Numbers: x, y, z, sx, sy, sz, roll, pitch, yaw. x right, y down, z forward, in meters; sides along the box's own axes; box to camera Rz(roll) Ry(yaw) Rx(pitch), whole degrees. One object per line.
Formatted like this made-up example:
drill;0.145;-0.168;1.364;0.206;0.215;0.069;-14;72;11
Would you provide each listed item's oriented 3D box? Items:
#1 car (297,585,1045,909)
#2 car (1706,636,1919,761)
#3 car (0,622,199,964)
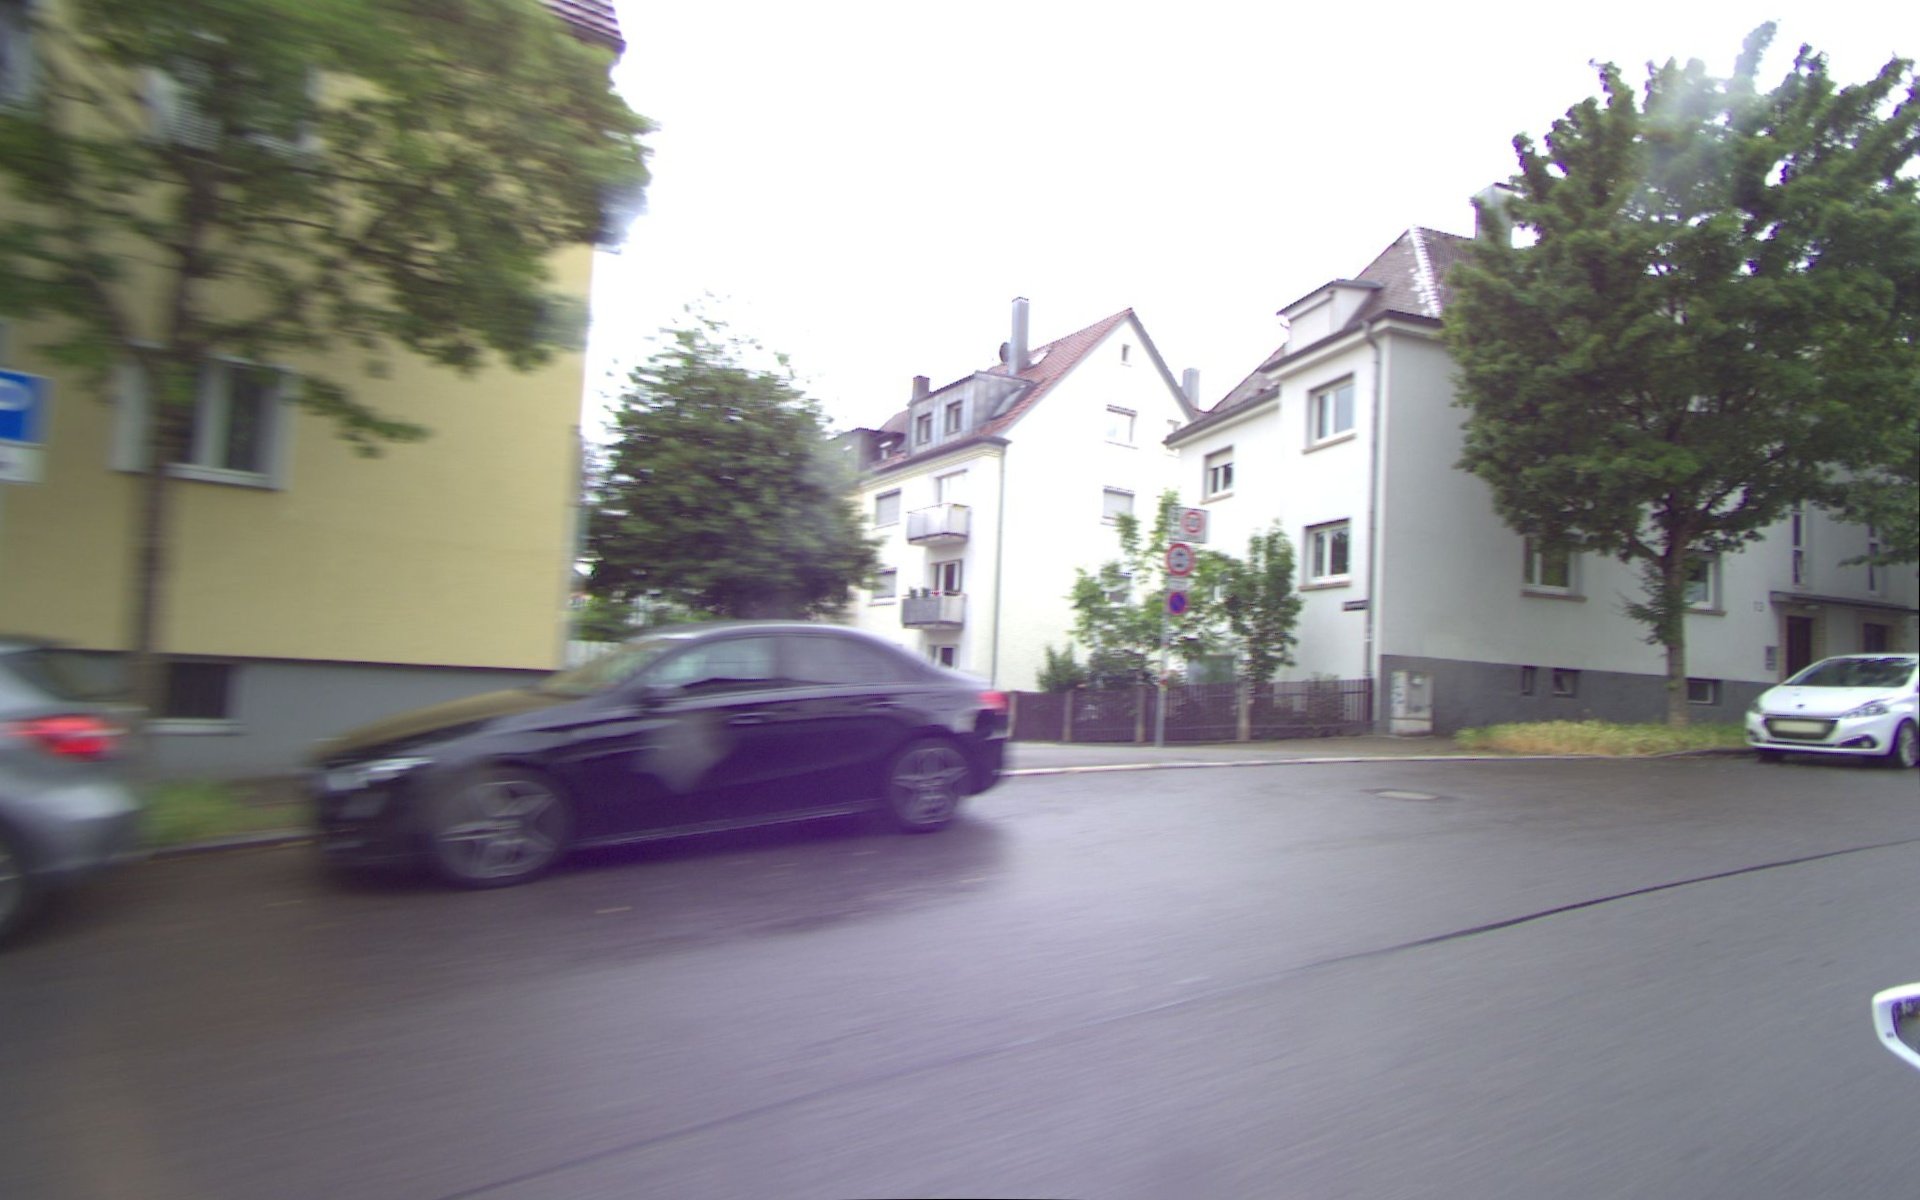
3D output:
car;-1.745;0.769;6.789;4.466;1.561;1.765;2;-1;-32
car;12.752;1.379;13.978;4.282;1.533;1.782;3;-5;-22
car;-5.656;0.787;3.892;4.284;1.415;1.602;1;-2;-38
